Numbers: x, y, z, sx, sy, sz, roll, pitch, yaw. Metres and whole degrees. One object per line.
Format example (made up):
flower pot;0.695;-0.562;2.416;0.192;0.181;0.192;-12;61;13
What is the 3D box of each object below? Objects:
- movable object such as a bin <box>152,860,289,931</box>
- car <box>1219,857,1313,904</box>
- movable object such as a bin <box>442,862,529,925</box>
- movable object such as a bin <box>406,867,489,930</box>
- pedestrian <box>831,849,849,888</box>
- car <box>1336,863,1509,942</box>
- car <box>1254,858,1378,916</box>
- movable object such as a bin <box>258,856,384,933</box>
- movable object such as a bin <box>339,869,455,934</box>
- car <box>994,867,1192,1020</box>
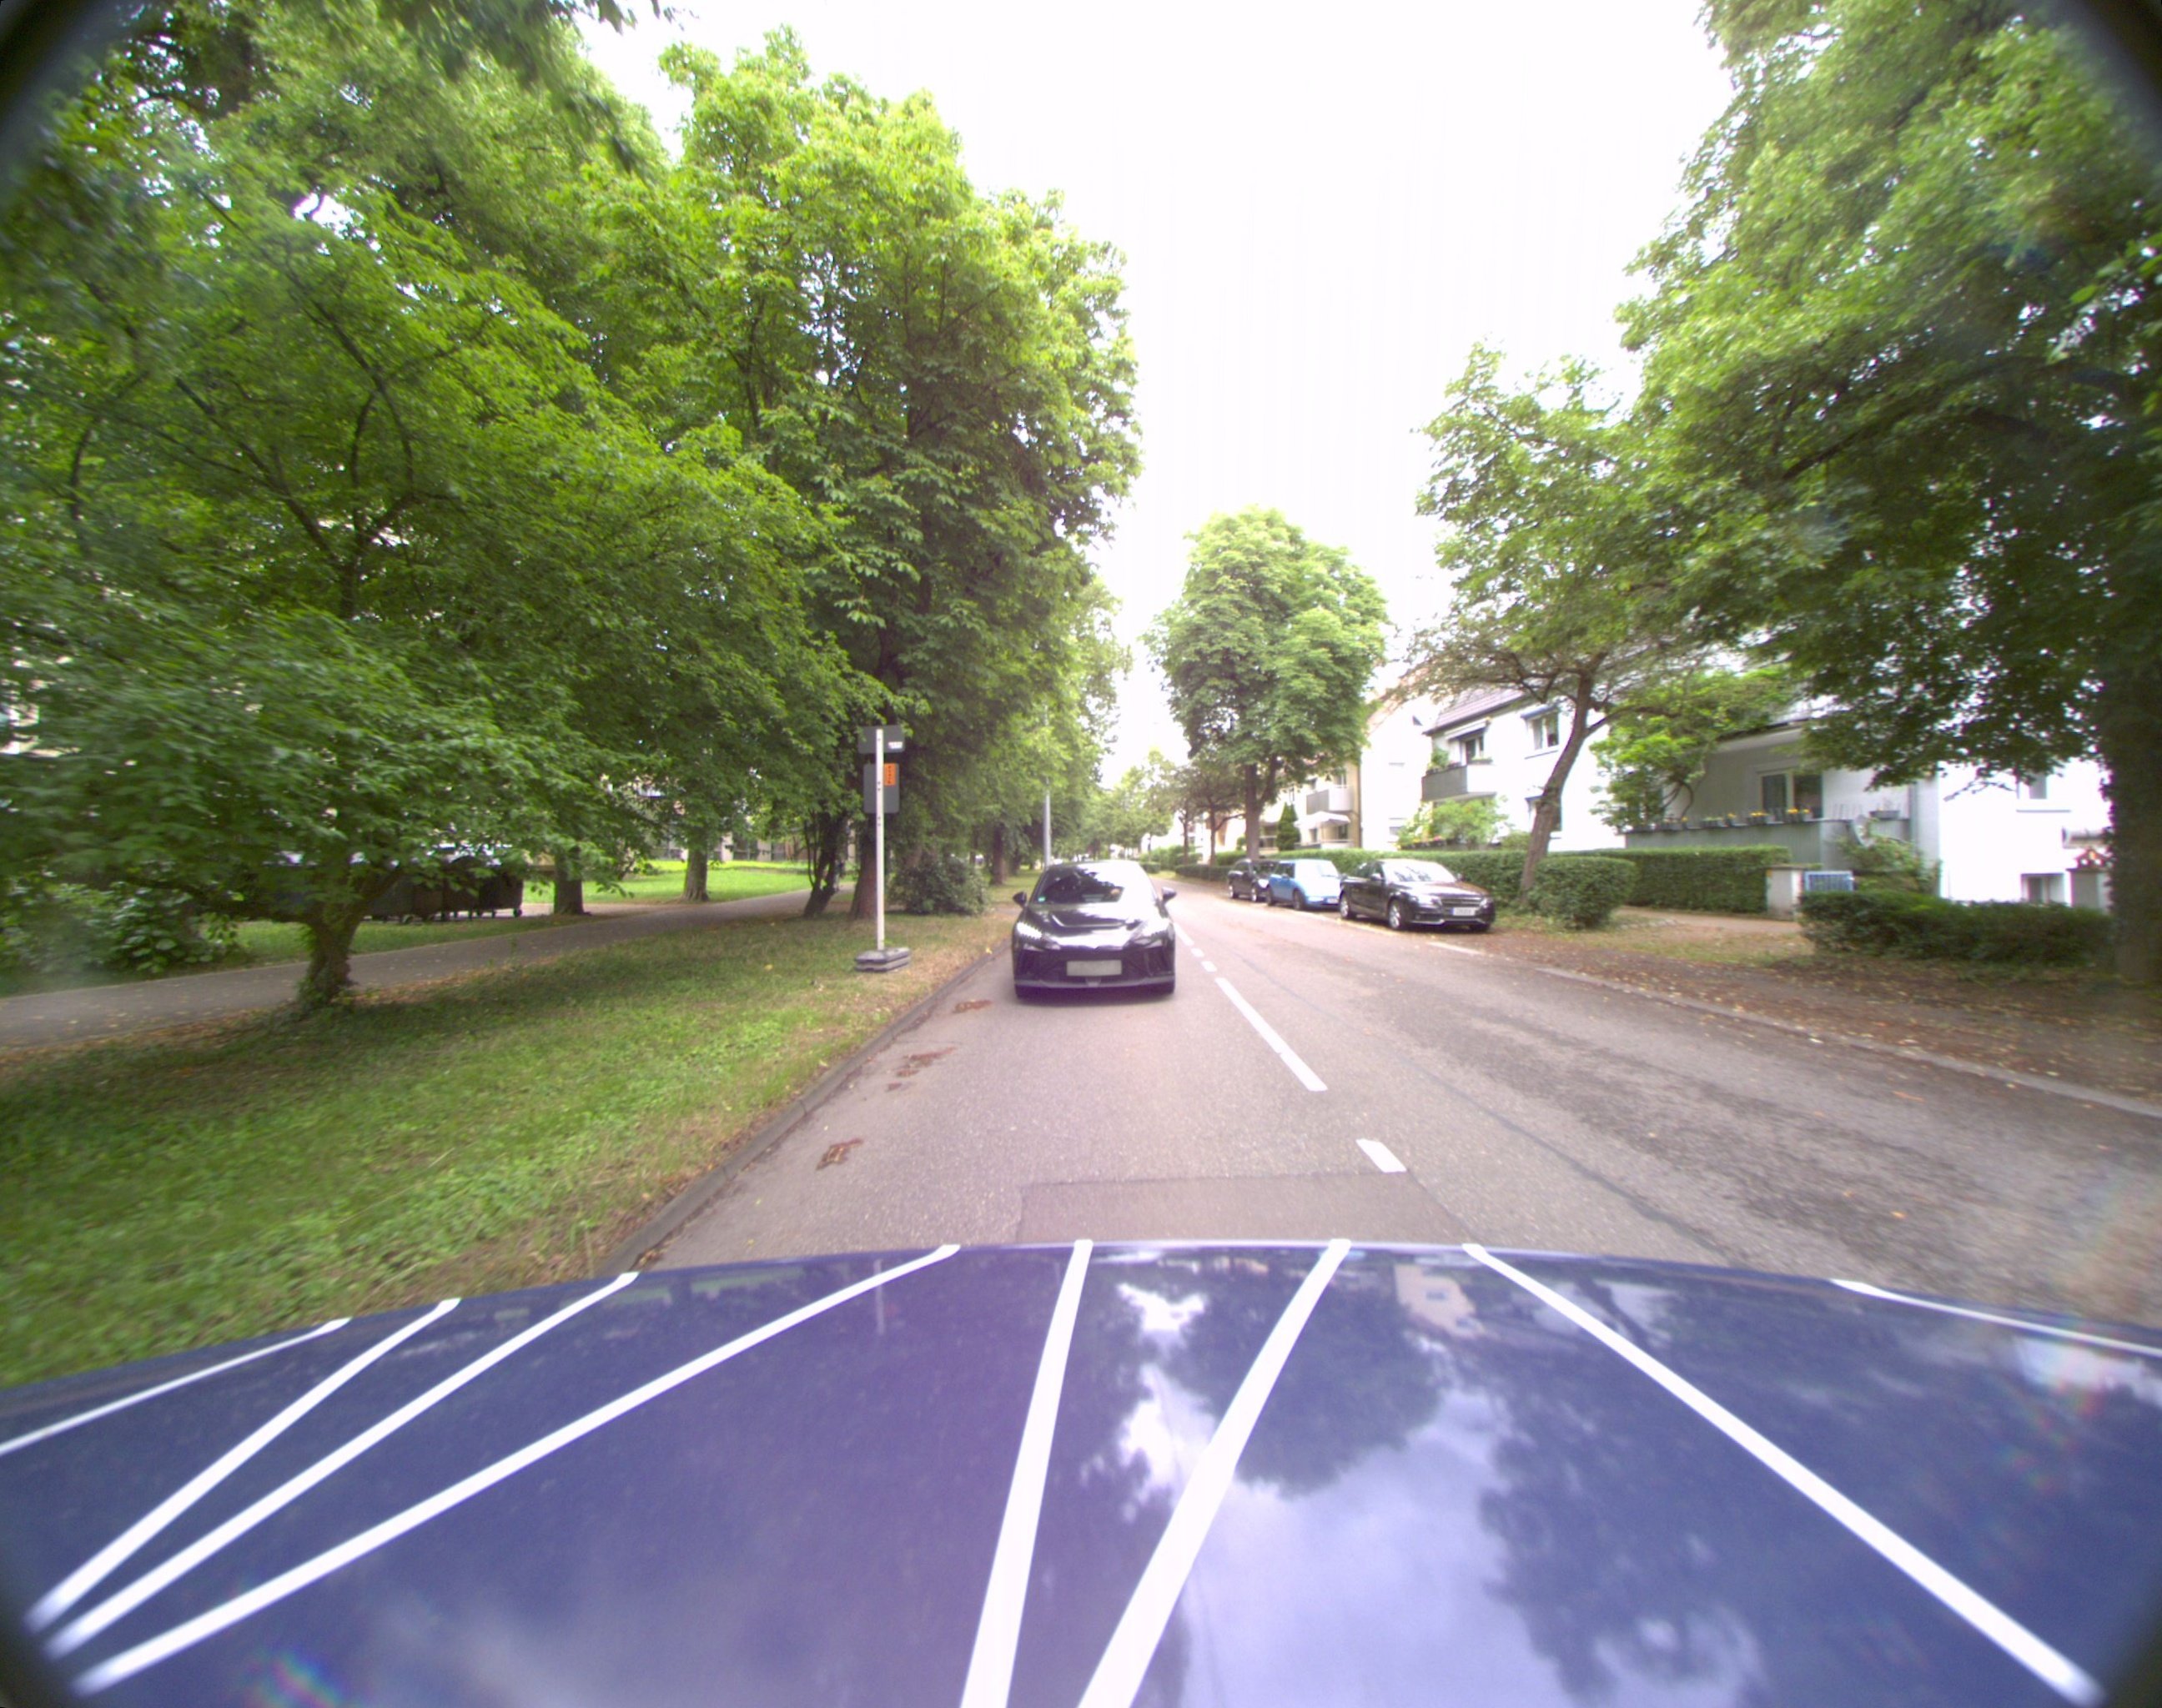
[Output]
movable object such as a bin;-16.980;0.785;15.055;1.195;1.334;1.347;0;0;-9
car;6.379;0.854;26.704;1.889;1.524;4.564;0;0;-4
movable object such as a bin;-13.761;0.885;17.608;1.195;1.405;1.110;0;0;-9
movable object such as a bin;-13.736;0.948;16.515;1.026;1.296;0.959;0;0;-9
pedestrian;-10.808;0.646;34.078;0.565;1.730;0.570;1;0;-1
car;6.929;0.913;15.939;1.735;1.395;4.171;0;0;0
car;6.607;0.863;21.954;1.889;1.492;4.564;0;0;-4
movable object such as a bin;-15.039;0.769;15.097;1.195;1.448;1.347;0;0;-9
movable object such as a bin;-13.727;0.931;15.317;1.195;1.213;1.347;0;0;-9
car;0.096;0.941;9.982;1.999;1.491;4.614;0;0;-1
